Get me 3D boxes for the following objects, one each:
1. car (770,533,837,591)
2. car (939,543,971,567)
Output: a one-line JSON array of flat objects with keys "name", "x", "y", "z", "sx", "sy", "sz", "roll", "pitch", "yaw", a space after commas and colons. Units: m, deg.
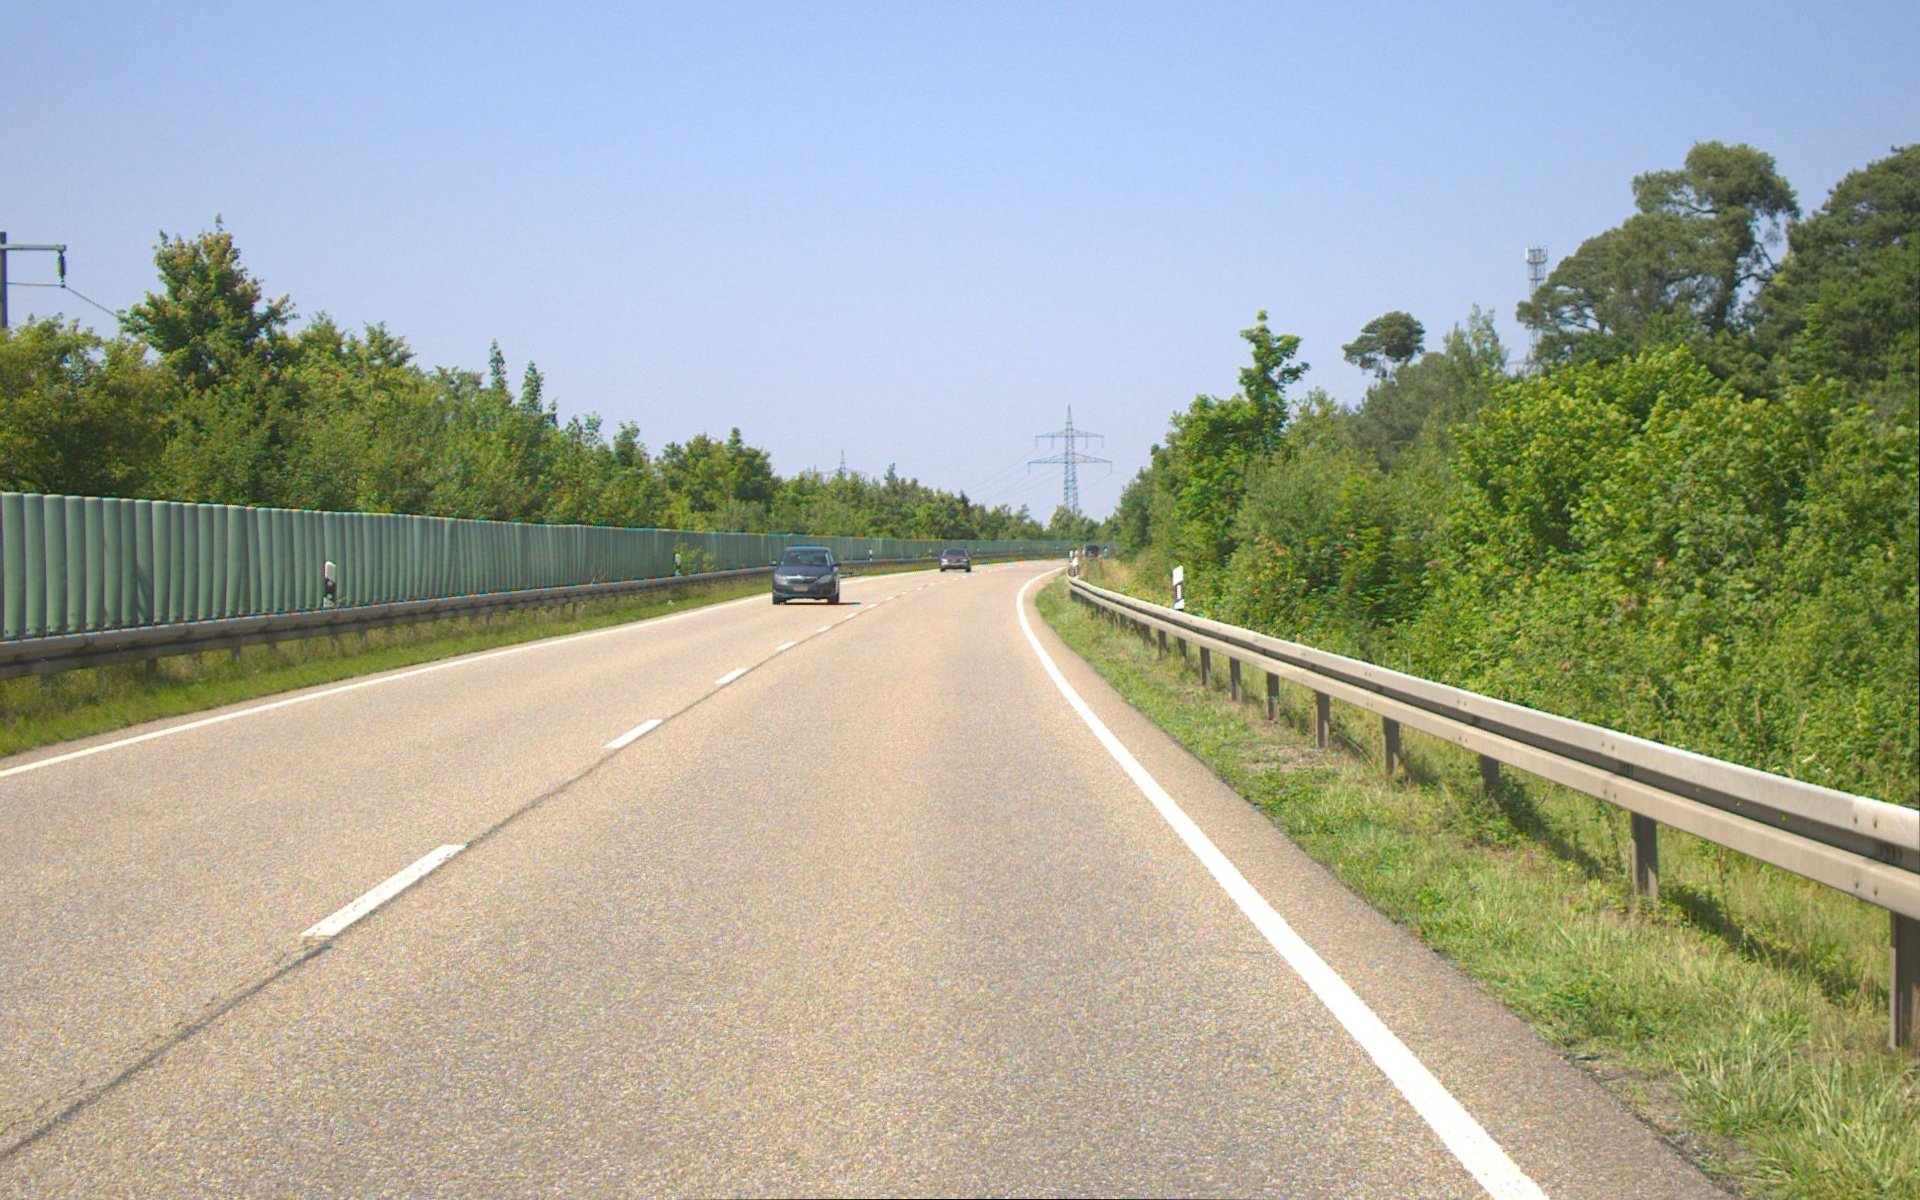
[{"name": "car", "x": -4.080, "y": -1.017, "z": 90.077, "sx": 1.648, "sy": 1.474, "sz": 3.677, "roll": 0, "pitch": 1, "yaw": -1}, {"name": "car", "x": -0.308, "y": -2.697, "z": 204.221, "sx": 1.787, "sy": 1.367, "sz": 3.897, "roll": 0, "pitch": 2, "yaw": 2}]
